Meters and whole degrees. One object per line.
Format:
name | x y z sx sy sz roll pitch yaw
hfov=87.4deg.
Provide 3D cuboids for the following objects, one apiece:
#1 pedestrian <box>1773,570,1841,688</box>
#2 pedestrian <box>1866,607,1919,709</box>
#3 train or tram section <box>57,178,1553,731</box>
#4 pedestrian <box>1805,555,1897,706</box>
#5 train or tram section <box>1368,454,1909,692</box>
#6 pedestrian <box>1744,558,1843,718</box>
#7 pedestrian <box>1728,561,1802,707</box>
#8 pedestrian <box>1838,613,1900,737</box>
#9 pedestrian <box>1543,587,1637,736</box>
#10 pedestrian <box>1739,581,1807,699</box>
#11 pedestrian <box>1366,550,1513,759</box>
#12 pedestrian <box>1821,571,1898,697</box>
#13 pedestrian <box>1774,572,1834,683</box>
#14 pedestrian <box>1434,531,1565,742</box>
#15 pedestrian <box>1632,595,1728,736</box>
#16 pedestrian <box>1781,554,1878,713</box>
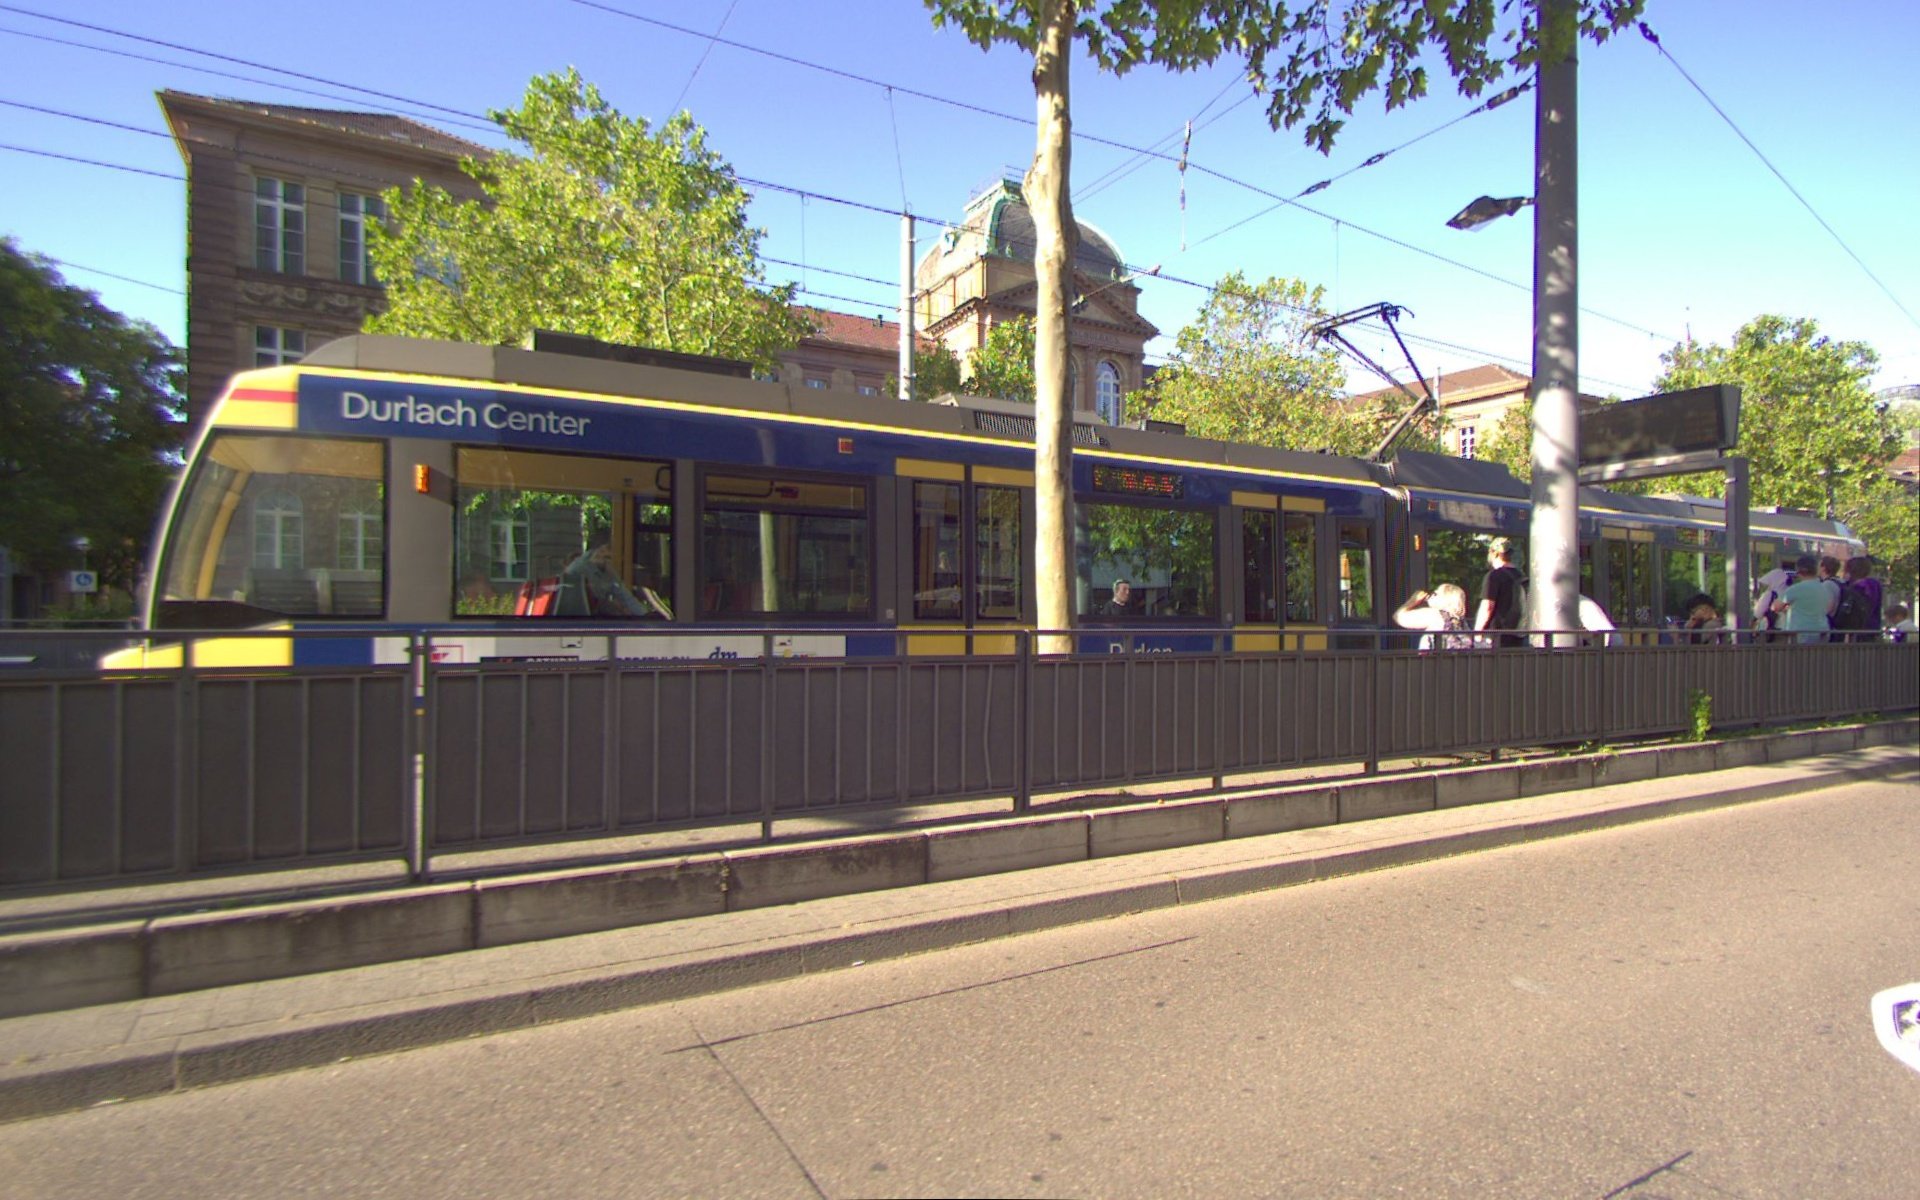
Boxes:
pedestrian | 12.369 0.422 14.673 0.616 1.671 0.615 1 -1 -34
pedestrian | 11.454 0.692 12.195 0.524 1.208 0.542 1 -1 -30
train or tram section | 0.705 -0.645 11.249 15.708 3.303 2.900 2 0 -30
pedestrian | 10.539 0.354 11.887 0.564 1.718 0.658 1 -1 -29
train or tram section | 13.061 -0.198 18.534 12.960 3.303 2.900 2 0 -30
pedestrian | 8.998 0.401 10.850 0.564 1.655 0.658 1 -1 -29
pedestrian | 9.848 0.409 12.297 0.614 1.731 0.512 1 -1 -30
pedestrian | 13.563 1.100 14.990 0.605 1.793 0.550 1 -1 -34
pedestrian | 5.830 0.555 9.295 0.598 1.316 0.531 1 -2 -33
pedestrian | 10.880 0.527 13.446 0.524 1.539 0.542 1 -1 -30
pedestrian | 3.758 0.415 7.894 0.744 1.529 0.771 1 -2 -33
pedestrian | 12.553 0.476 14.024 0.599 1.724 0.507 0 -1 1
pedestrian | 13.500 0.435 16.068 0.540 1.724 0.605 1 -1 -34
pedestrian | 4.797 0.319 8.947 0.715 1.776 0.771 1 -2 -33
pedestrian | 6.743 0.600 9.410 0.598 1.263 0.531 1 -1 -32
pedestrian | 9.734 0.371 11.257 0.564 1.718 0.658 1 -1 -29
